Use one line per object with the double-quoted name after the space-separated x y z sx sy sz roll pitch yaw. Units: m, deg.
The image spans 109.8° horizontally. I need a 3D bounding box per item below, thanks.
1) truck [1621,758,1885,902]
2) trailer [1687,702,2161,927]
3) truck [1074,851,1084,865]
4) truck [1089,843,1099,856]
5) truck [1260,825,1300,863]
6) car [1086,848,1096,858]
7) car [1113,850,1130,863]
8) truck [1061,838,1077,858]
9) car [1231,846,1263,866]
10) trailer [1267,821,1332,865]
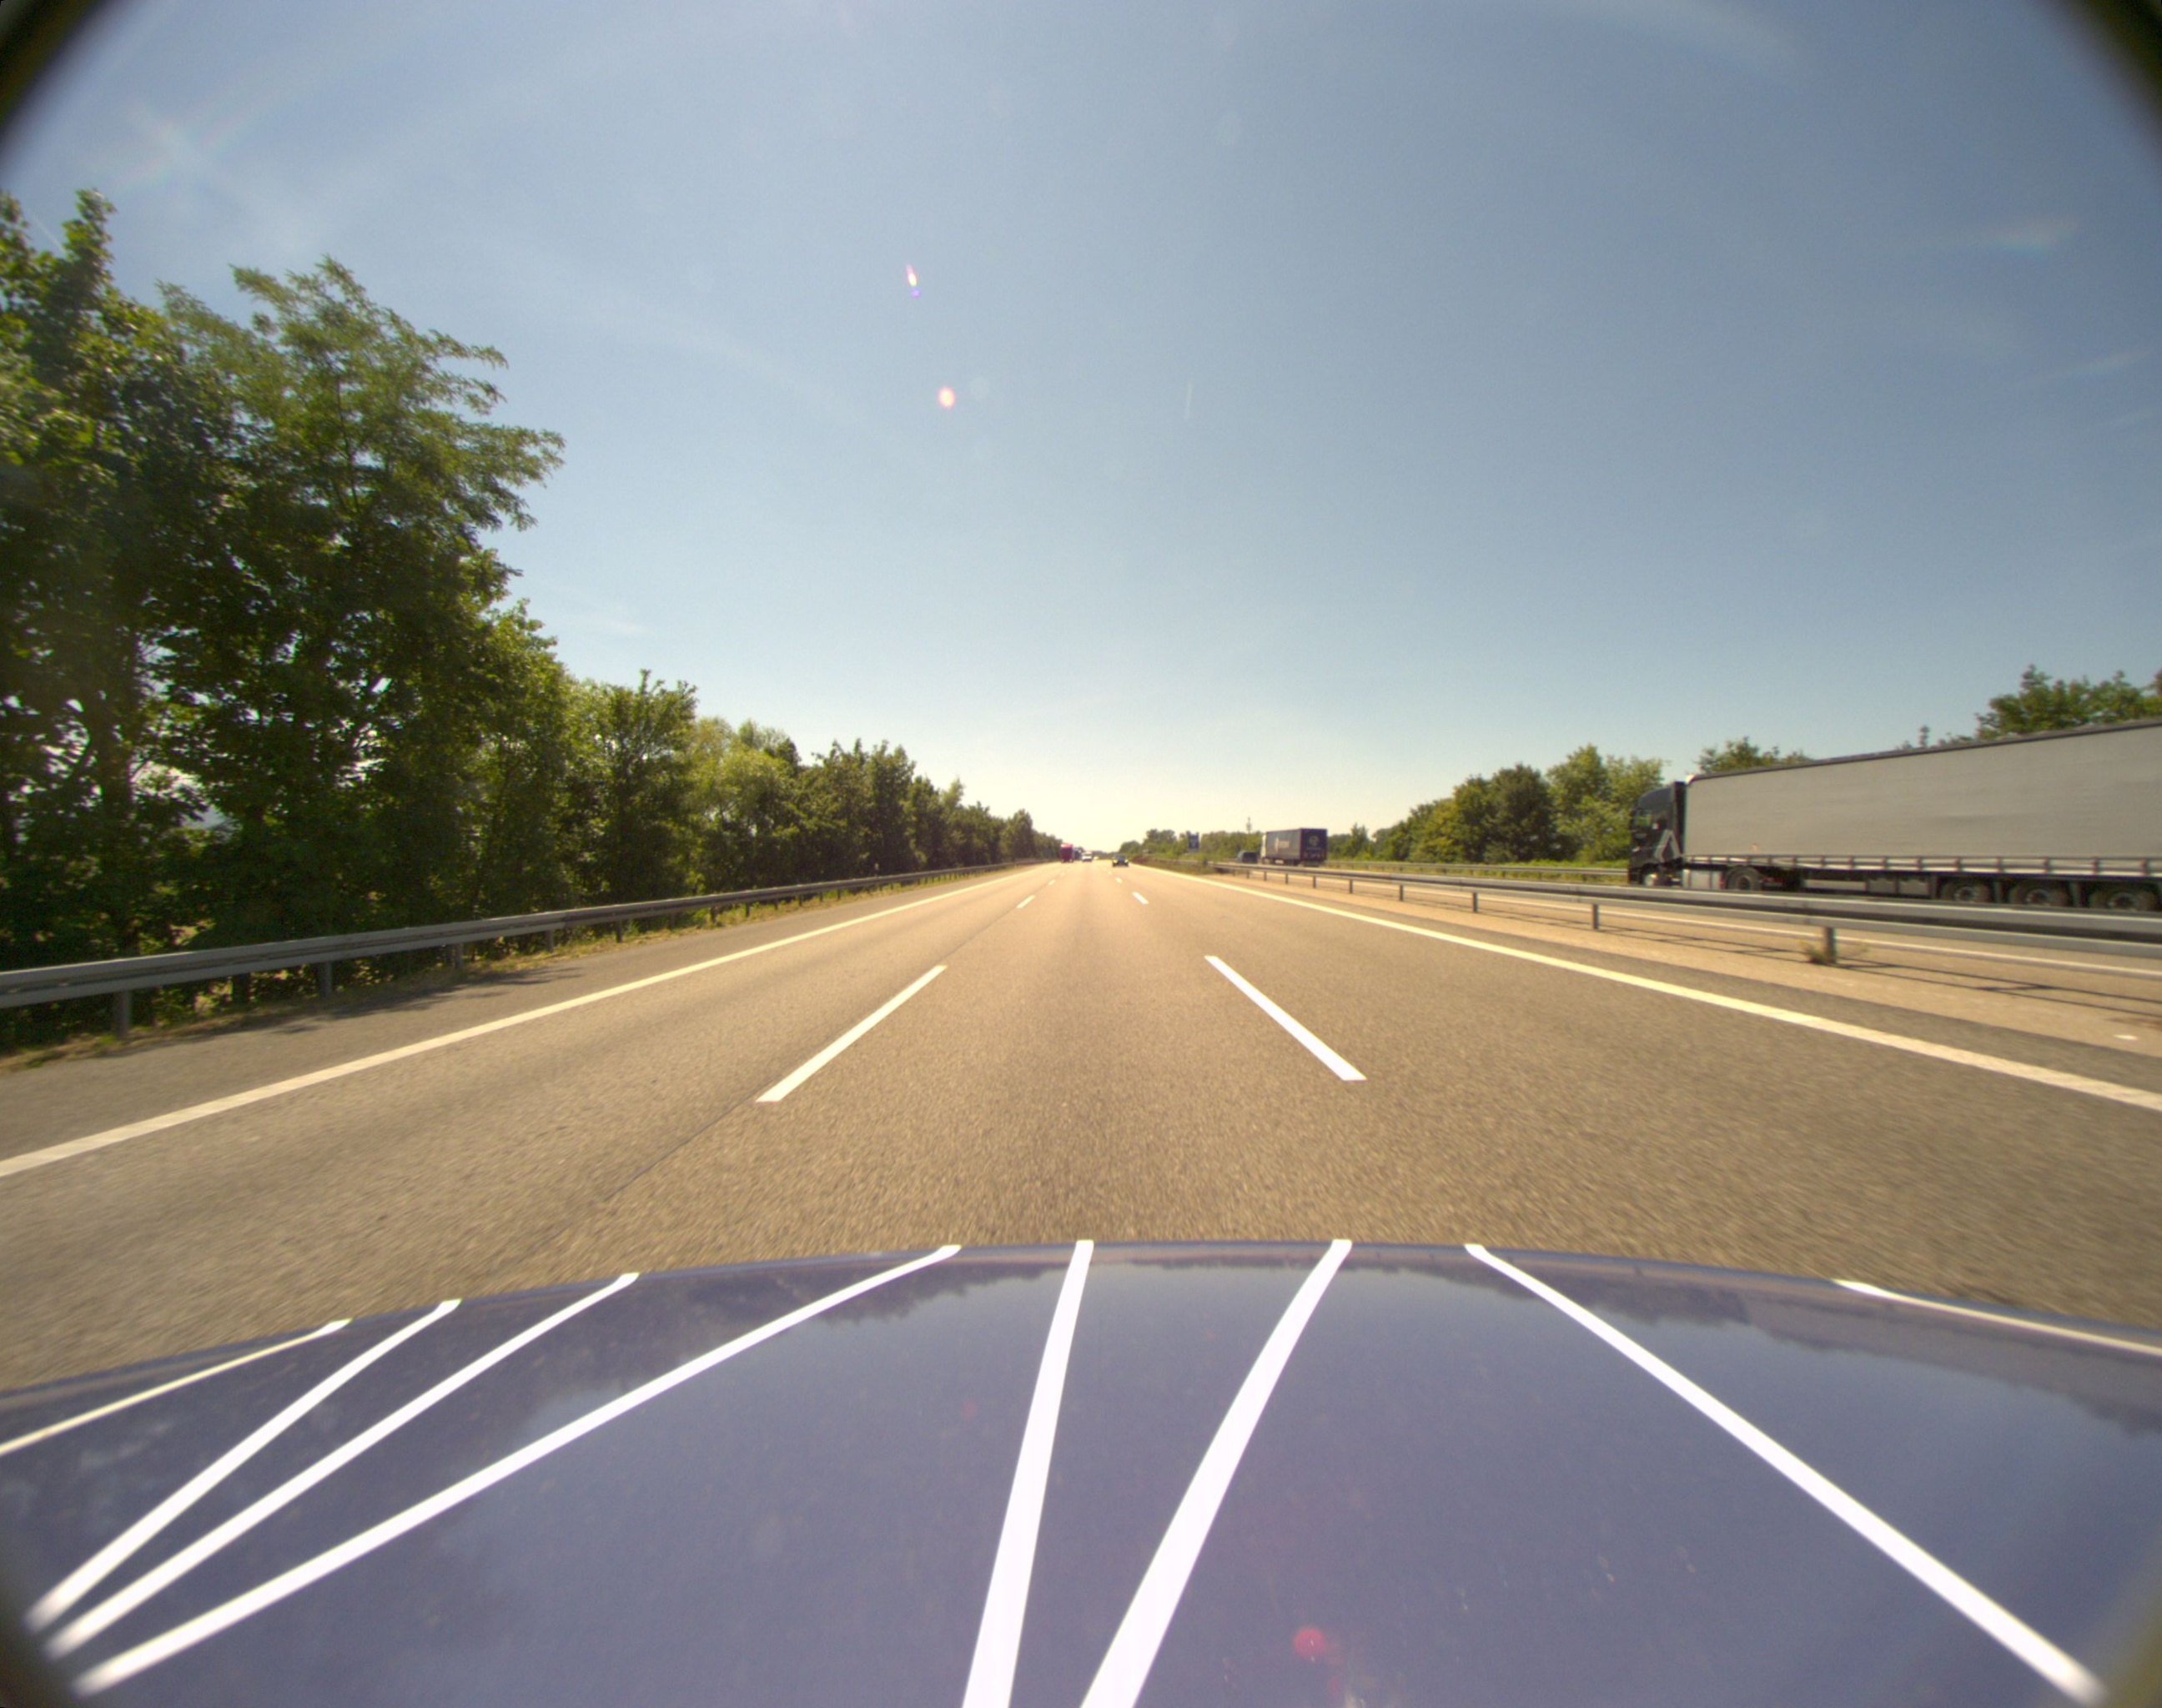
21.670 -0.688 25.112 3.205 4.105 6.194 -2 0 1 "truck"
21.601 -0.725 18.246 3.357 4.162 13.541 0 0 0 "trailer"
-0.688 1.354 257.776 2.938 4.428 10.260 -2 0 1 "truck"
4.024 -1.370 240.468 2.938 3.933 10.260 -2 0 1 "truck"
22.520 -1.130 86.188 2.923 4.106 6.193 1 1 0 "truck"
2.073 -0.258 156.451 1.998 2.002 4.756 -3 0 1 "car"
4.646 0.298 87.806 1.736 1.433 4.000 -3 0 1 "car"
-2.534 -1.258 163.705 2.938 3.933 10.260 -2 0 1 "truck"
18.282 0.206 84.128 2.234 1.977 5.356 -5 1 0 "car"
22.398 -1.108 78.863 2.927 4.162 13.539 1 1 1 "trailer"
